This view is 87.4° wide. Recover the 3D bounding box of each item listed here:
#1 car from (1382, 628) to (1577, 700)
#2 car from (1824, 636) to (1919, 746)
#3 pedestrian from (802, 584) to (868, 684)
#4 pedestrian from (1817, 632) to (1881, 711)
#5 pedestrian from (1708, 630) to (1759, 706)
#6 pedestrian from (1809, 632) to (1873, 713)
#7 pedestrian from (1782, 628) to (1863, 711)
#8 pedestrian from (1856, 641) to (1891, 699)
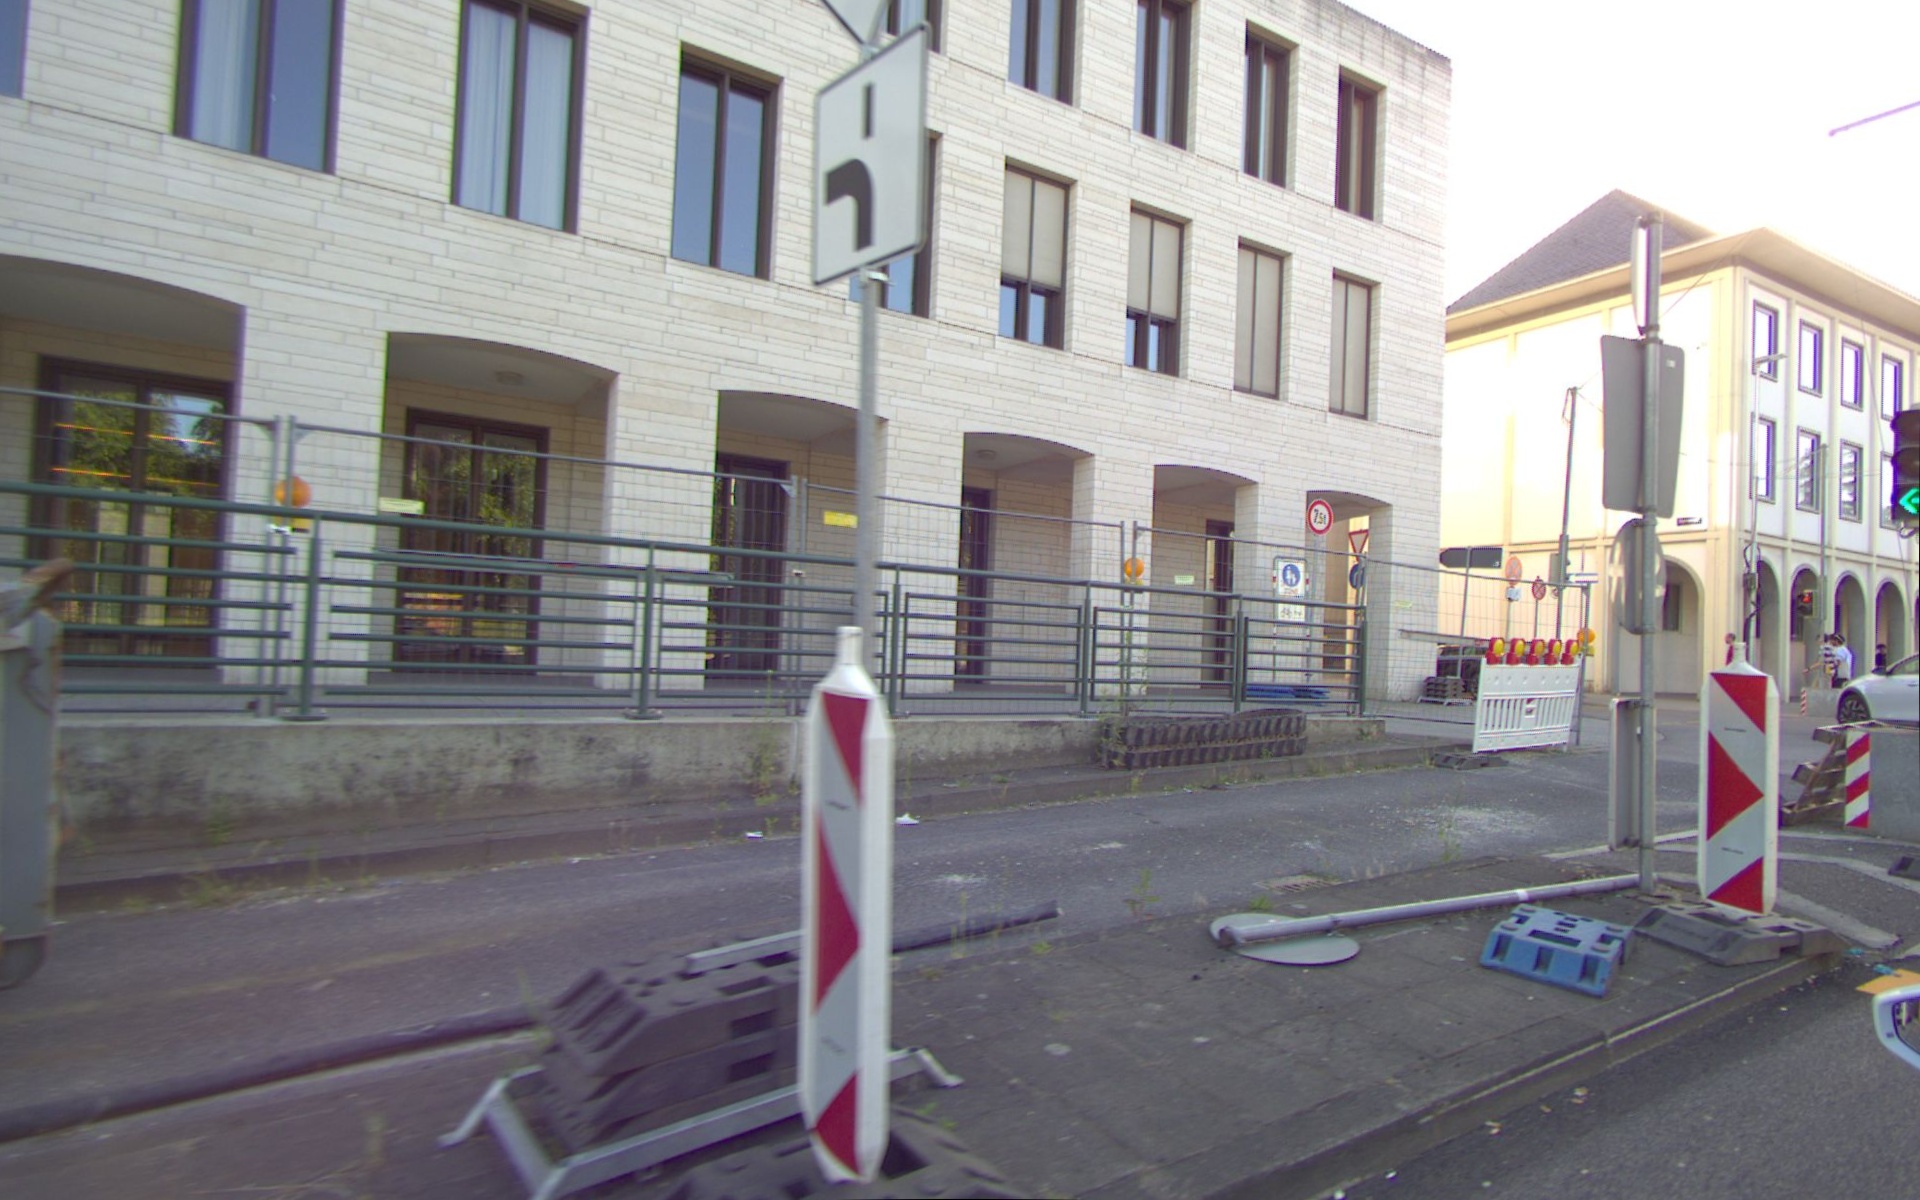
[{"bbox_3d":[12.571,1.511,24.593,1.755,1.570,4.084,2,-2,-23],"label":"car"},{"bbox_3d":[14.209,1.310,13.894,1.828,1.491,4.002,3,-1,15],"label":"car"},{"bbox_3d":[-1.954,0.531,15.692,0.789,1.507,0.668,-1,-3,-31],"label":"pedestrian"},{"bbox_3d":[21.060,1.665,23.802,0.702,1.801,0.934,0,-1,-29],"label":"pedestrian"},{"bbox_3d":[18.954,1.650,24.628,0.702,1.826,0.770,0,-1,-29],"label":"pedestrian"},{"bbox_3d":[20.466,1.664,23.337,0.702,1.801,0.934,0,-1,-29],"label":"pedestrian"},{"bbox_3d":[19.809,1.571,23.095,0.708,1.826,1.238,0,-1,-29],"label":"pedestrian"},{"bbox_3d":[30.287,2.318,33.288,0.717,1.865,0.638,0,0,-25],"label":"pedestrian"}]
